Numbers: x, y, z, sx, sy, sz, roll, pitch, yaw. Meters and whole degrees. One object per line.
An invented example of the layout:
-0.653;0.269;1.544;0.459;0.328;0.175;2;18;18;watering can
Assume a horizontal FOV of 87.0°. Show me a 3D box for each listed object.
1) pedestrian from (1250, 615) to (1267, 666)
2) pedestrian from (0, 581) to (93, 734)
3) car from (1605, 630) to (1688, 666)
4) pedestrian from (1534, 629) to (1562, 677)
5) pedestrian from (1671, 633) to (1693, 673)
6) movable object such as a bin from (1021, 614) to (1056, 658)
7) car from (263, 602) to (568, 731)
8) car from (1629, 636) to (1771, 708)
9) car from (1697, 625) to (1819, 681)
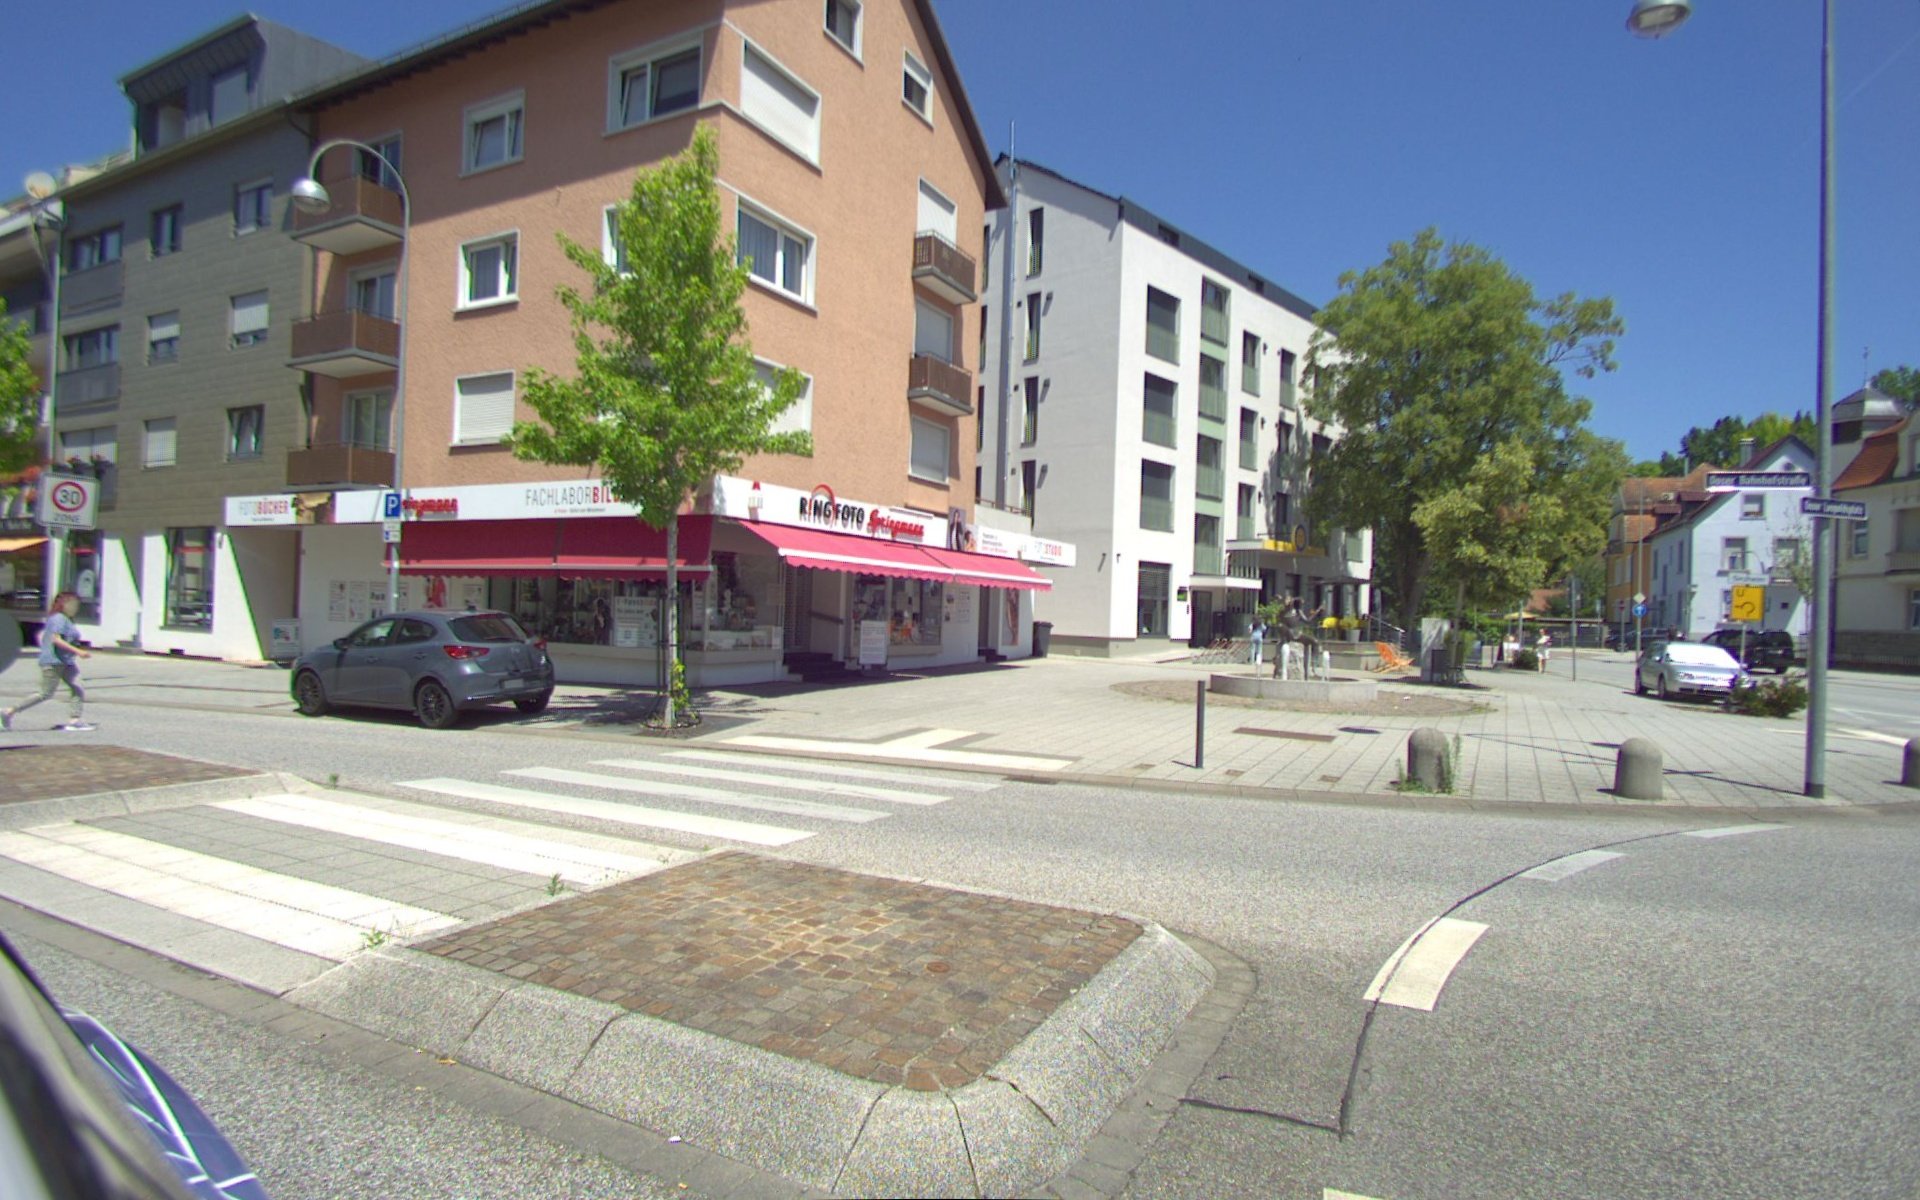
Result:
9.642;1.315;32.737;0.448;1.631;0.447;0;-2;26;pedestrian
-10.077;0.619;11.137;0.559;1.622;0.724;-1;-2;44;pedestrian
41.804;2.880;61.700;3.998;2.029;1.973;0;-2;41;car
20.792;1.862;35.786;0.816;1.661;0.940;0;-2;32;pedestrian
37.379;2.715;52.361;0.862;2.029;0.721;2;-2;-39;pedestrian
2.330;1.053;29.874;0.744;1.262;0.828;0;-2;30;movable object such as a bin
-7.525;0.814;13.949;4.038;1.497;1.658;0;1;26;car
17.828;1.668;24.593;1.784;1.536;3.972;0;-1;21;car
33.306;2.162;42.402;1.973;2.029;3.997;1;1;2;car
